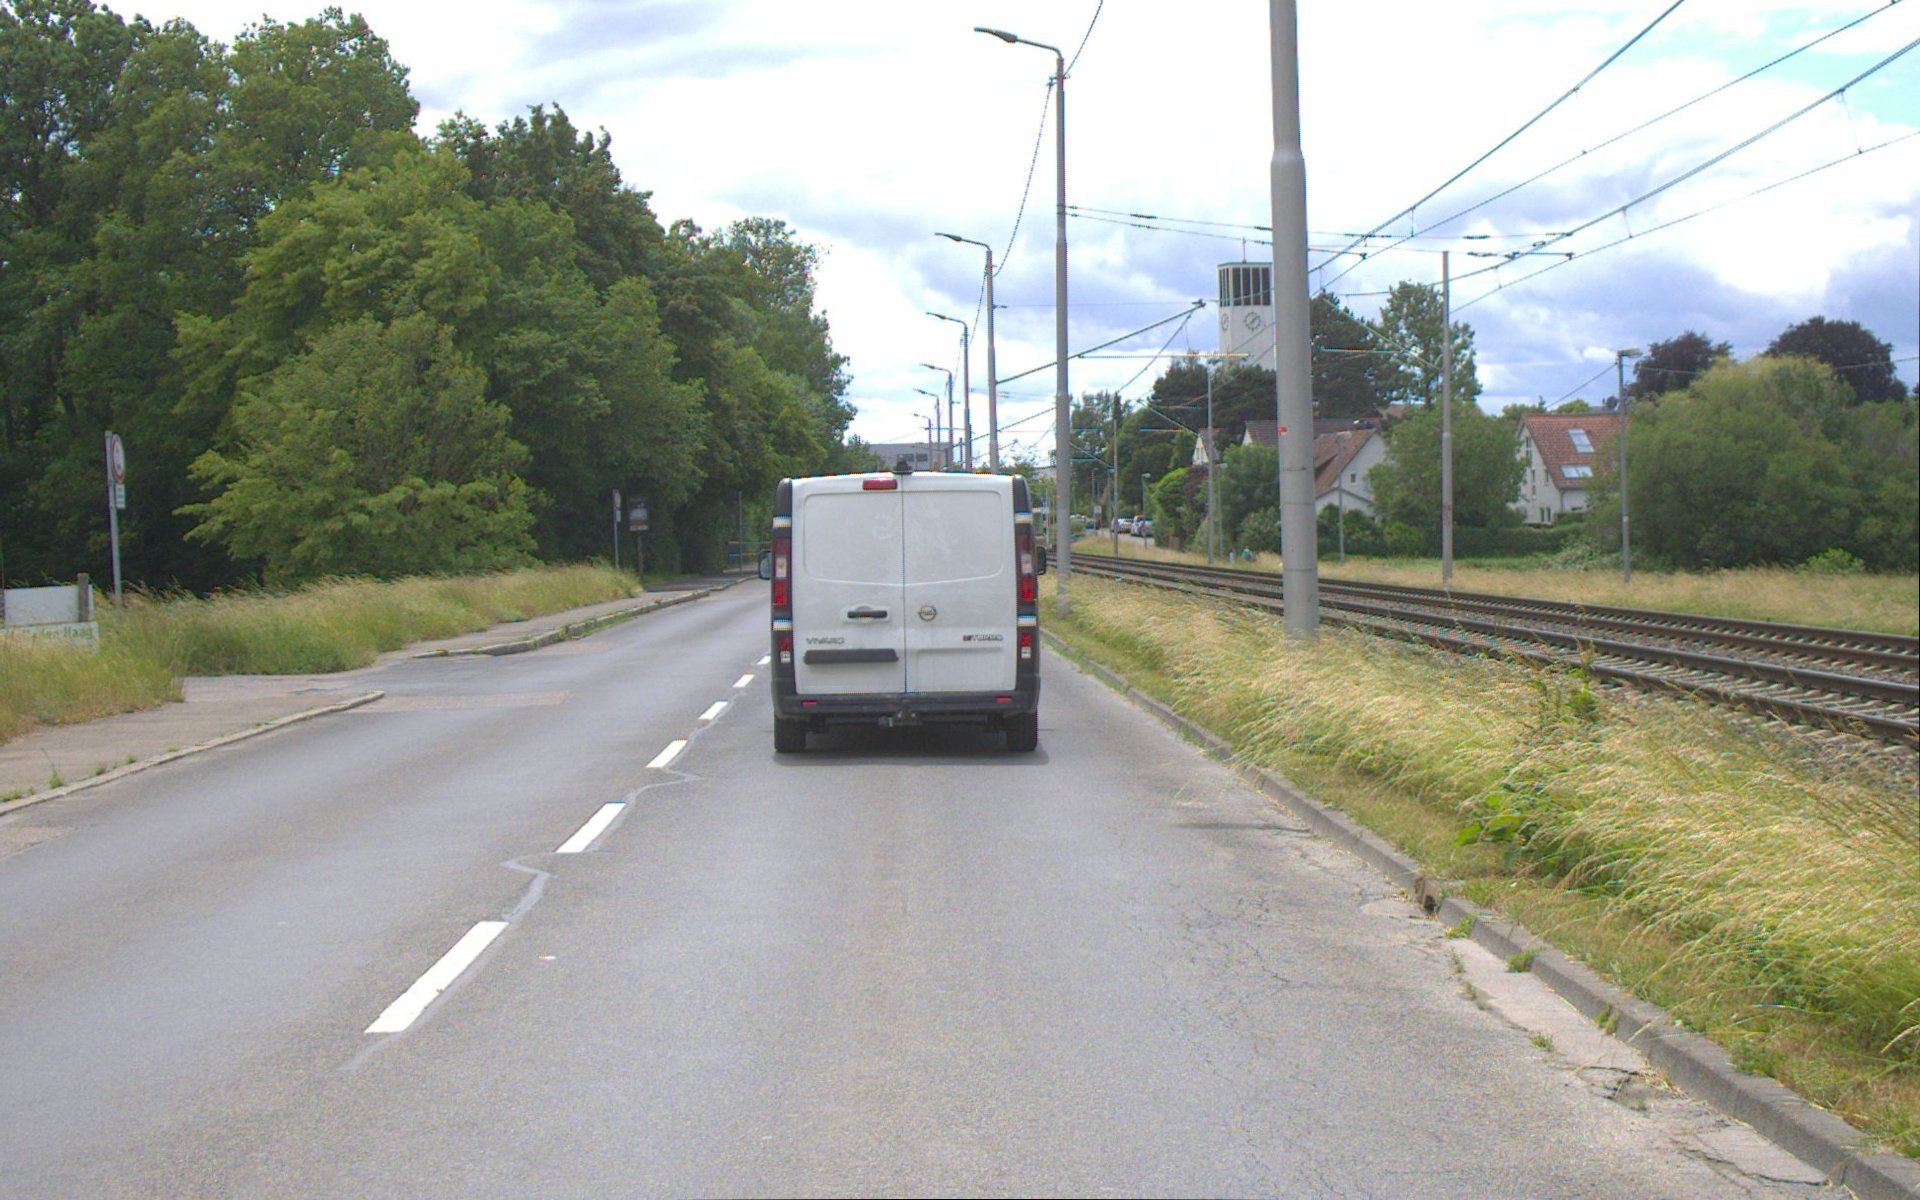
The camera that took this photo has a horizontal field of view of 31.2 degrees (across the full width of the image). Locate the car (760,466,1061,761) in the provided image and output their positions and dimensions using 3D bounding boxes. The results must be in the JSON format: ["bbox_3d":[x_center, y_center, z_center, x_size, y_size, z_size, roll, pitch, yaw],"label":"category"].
[{"bbox_3d":[-0.404,0.063,24.973,1.993,1.950,4.000,-1,1,-2],"label":"car"}]
